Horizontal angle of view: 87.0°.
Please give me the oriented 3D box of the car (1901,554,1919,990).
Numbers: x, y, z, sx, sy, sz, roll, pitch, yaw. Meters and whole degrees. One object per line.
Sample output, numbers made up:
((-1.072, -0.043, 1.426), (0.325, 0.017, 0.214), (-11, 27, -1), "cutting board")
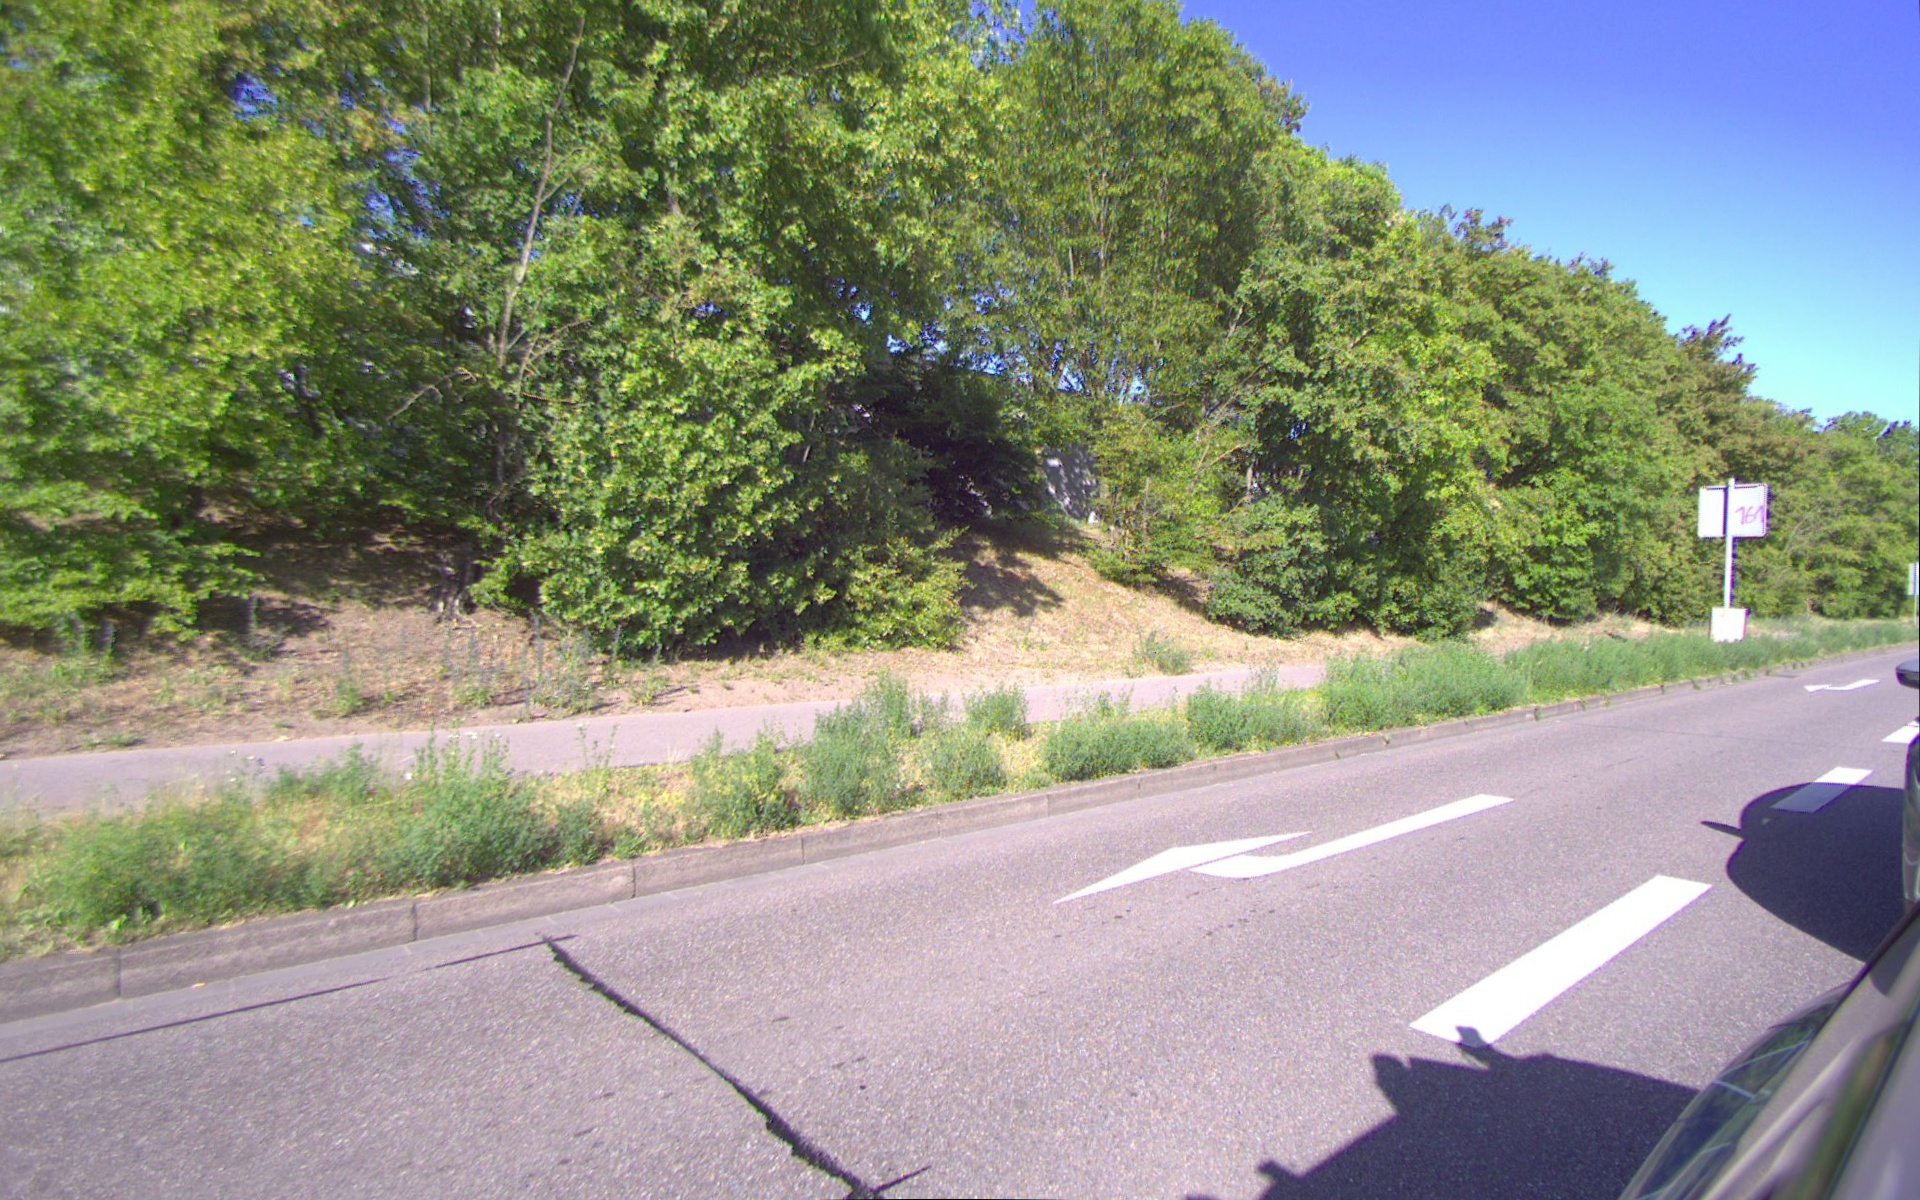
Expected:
((5.595, 0.653, 4.350), (3.863, 1.617, 1.869), (0, 0, -41), "car")
